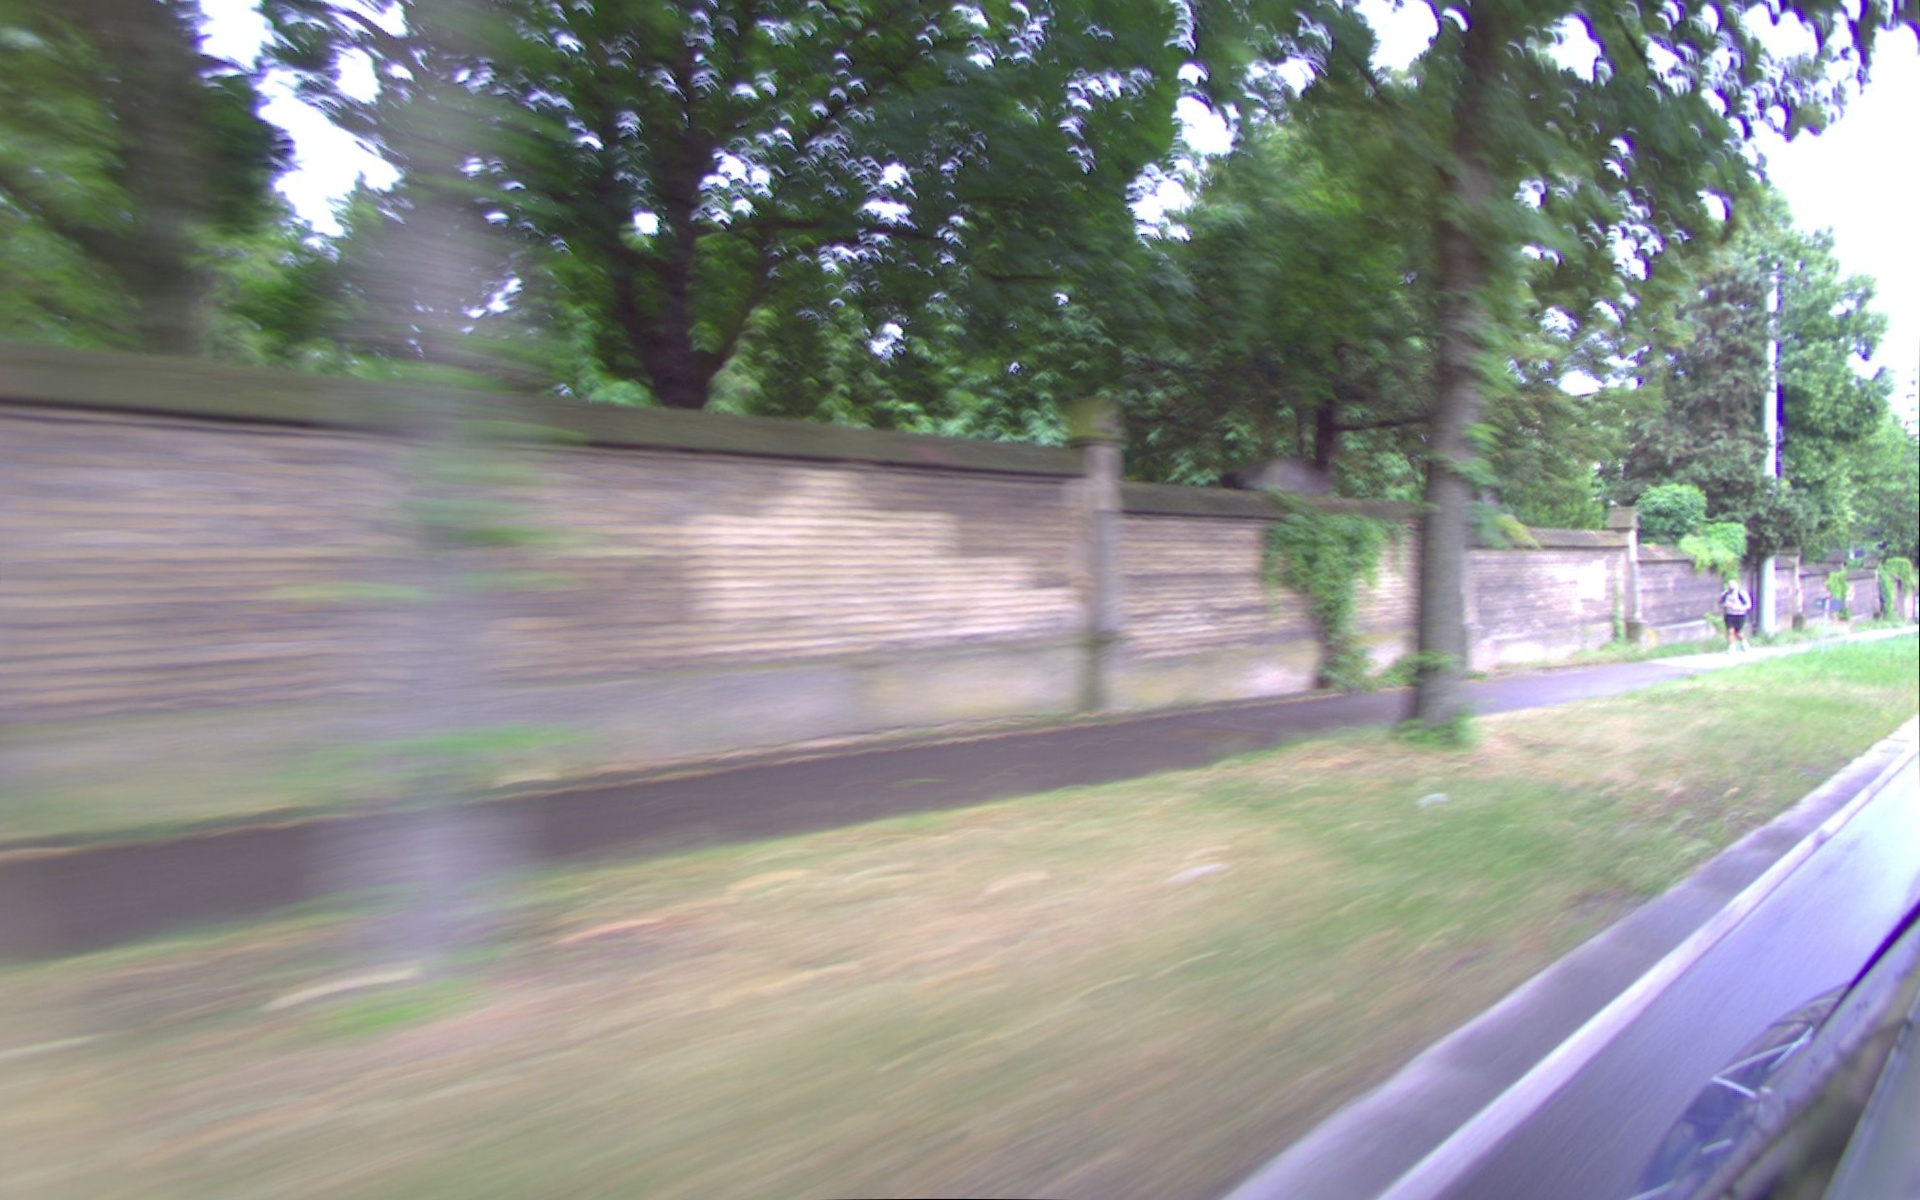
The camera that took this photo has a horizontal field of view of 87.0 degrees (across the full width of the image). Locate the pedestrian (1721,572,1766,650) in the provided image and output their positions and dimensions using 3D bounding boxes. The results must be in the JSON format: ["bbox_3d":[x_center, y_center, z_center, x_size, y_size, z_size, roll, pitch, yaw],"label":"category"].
[{"bbox_3d":[18.381,0.244,23.754,0.886,1.802,0.709,0,0,-44],"label":"pedestrian"}]
